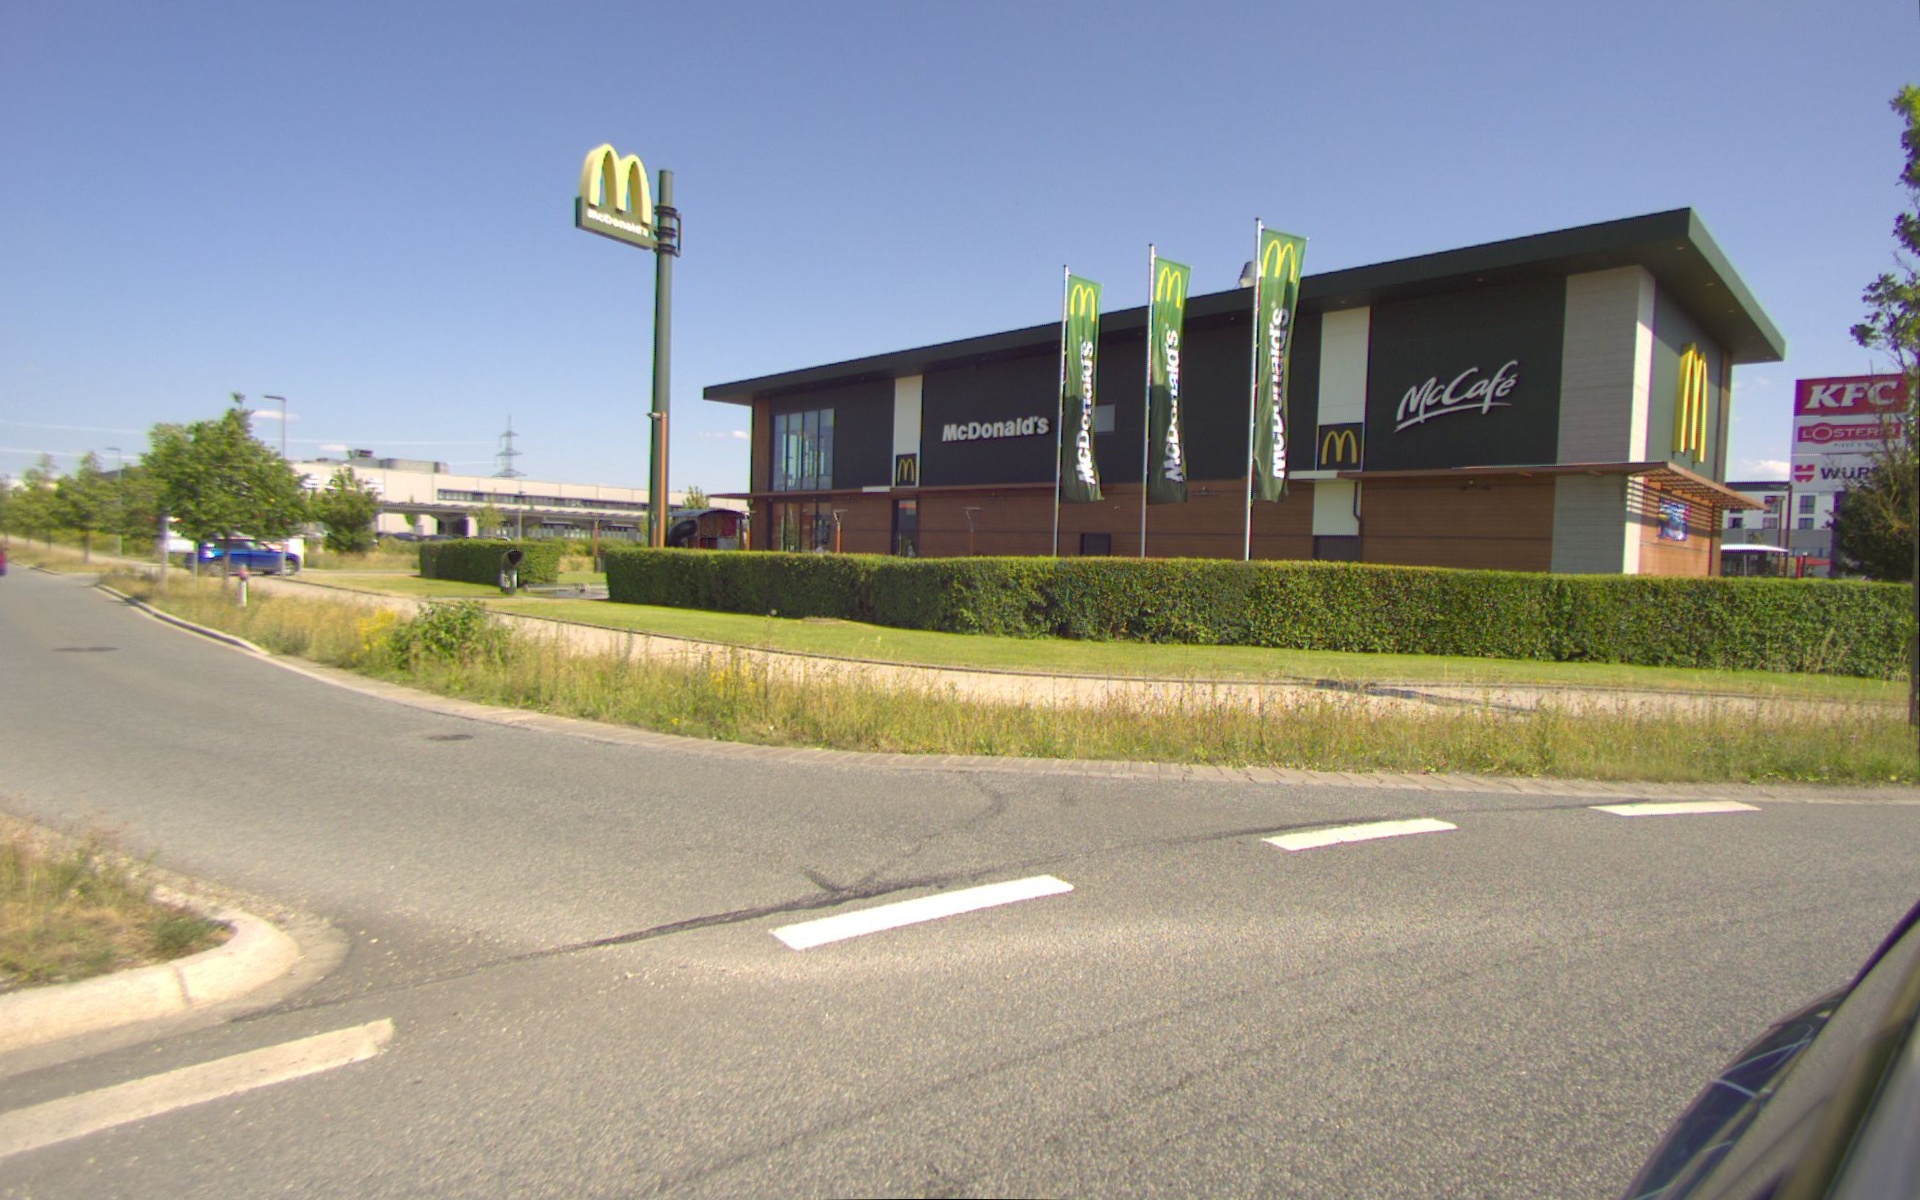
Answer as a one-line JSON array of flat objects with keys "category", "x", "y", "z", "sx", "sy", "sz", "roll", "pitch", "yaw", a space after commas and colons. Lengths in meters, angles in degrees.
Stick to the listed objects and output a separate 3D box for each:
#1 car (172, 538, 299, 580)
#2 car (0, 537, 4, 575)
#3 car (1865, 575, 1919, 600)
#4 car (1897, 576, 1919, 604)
[{"category": "car", "x": -30.917, "y": -1.718, "z": 43.288, "sx": 1.841, "sy": 1.655, "sz": 4.037, "roll": 2, "pitch": 1, "yaw": 30}, {"category": "car", "x": -38.479, "y": -1.786, "z": 39.317, "sx": 4.106, "sy": 1.433, "sz": 1.779, "roll": 4, "pitch": 2, "yaw": 44}, {"category": "car", "x": 67.989, "y": -0.868, "z": 72.481, "sx": 1.898, "sy": 1.672, "sz": 4.442, "roll": 0, "pitch": 4, "yaw": -38}, {"category": "car", "x": 72.138, "y": -0.667, "z": 74.493, "sx": 1.894, "sy": 2.038, "sz": 4.194, "roll": 0, "pitch": 3, "yaw": -30}]
